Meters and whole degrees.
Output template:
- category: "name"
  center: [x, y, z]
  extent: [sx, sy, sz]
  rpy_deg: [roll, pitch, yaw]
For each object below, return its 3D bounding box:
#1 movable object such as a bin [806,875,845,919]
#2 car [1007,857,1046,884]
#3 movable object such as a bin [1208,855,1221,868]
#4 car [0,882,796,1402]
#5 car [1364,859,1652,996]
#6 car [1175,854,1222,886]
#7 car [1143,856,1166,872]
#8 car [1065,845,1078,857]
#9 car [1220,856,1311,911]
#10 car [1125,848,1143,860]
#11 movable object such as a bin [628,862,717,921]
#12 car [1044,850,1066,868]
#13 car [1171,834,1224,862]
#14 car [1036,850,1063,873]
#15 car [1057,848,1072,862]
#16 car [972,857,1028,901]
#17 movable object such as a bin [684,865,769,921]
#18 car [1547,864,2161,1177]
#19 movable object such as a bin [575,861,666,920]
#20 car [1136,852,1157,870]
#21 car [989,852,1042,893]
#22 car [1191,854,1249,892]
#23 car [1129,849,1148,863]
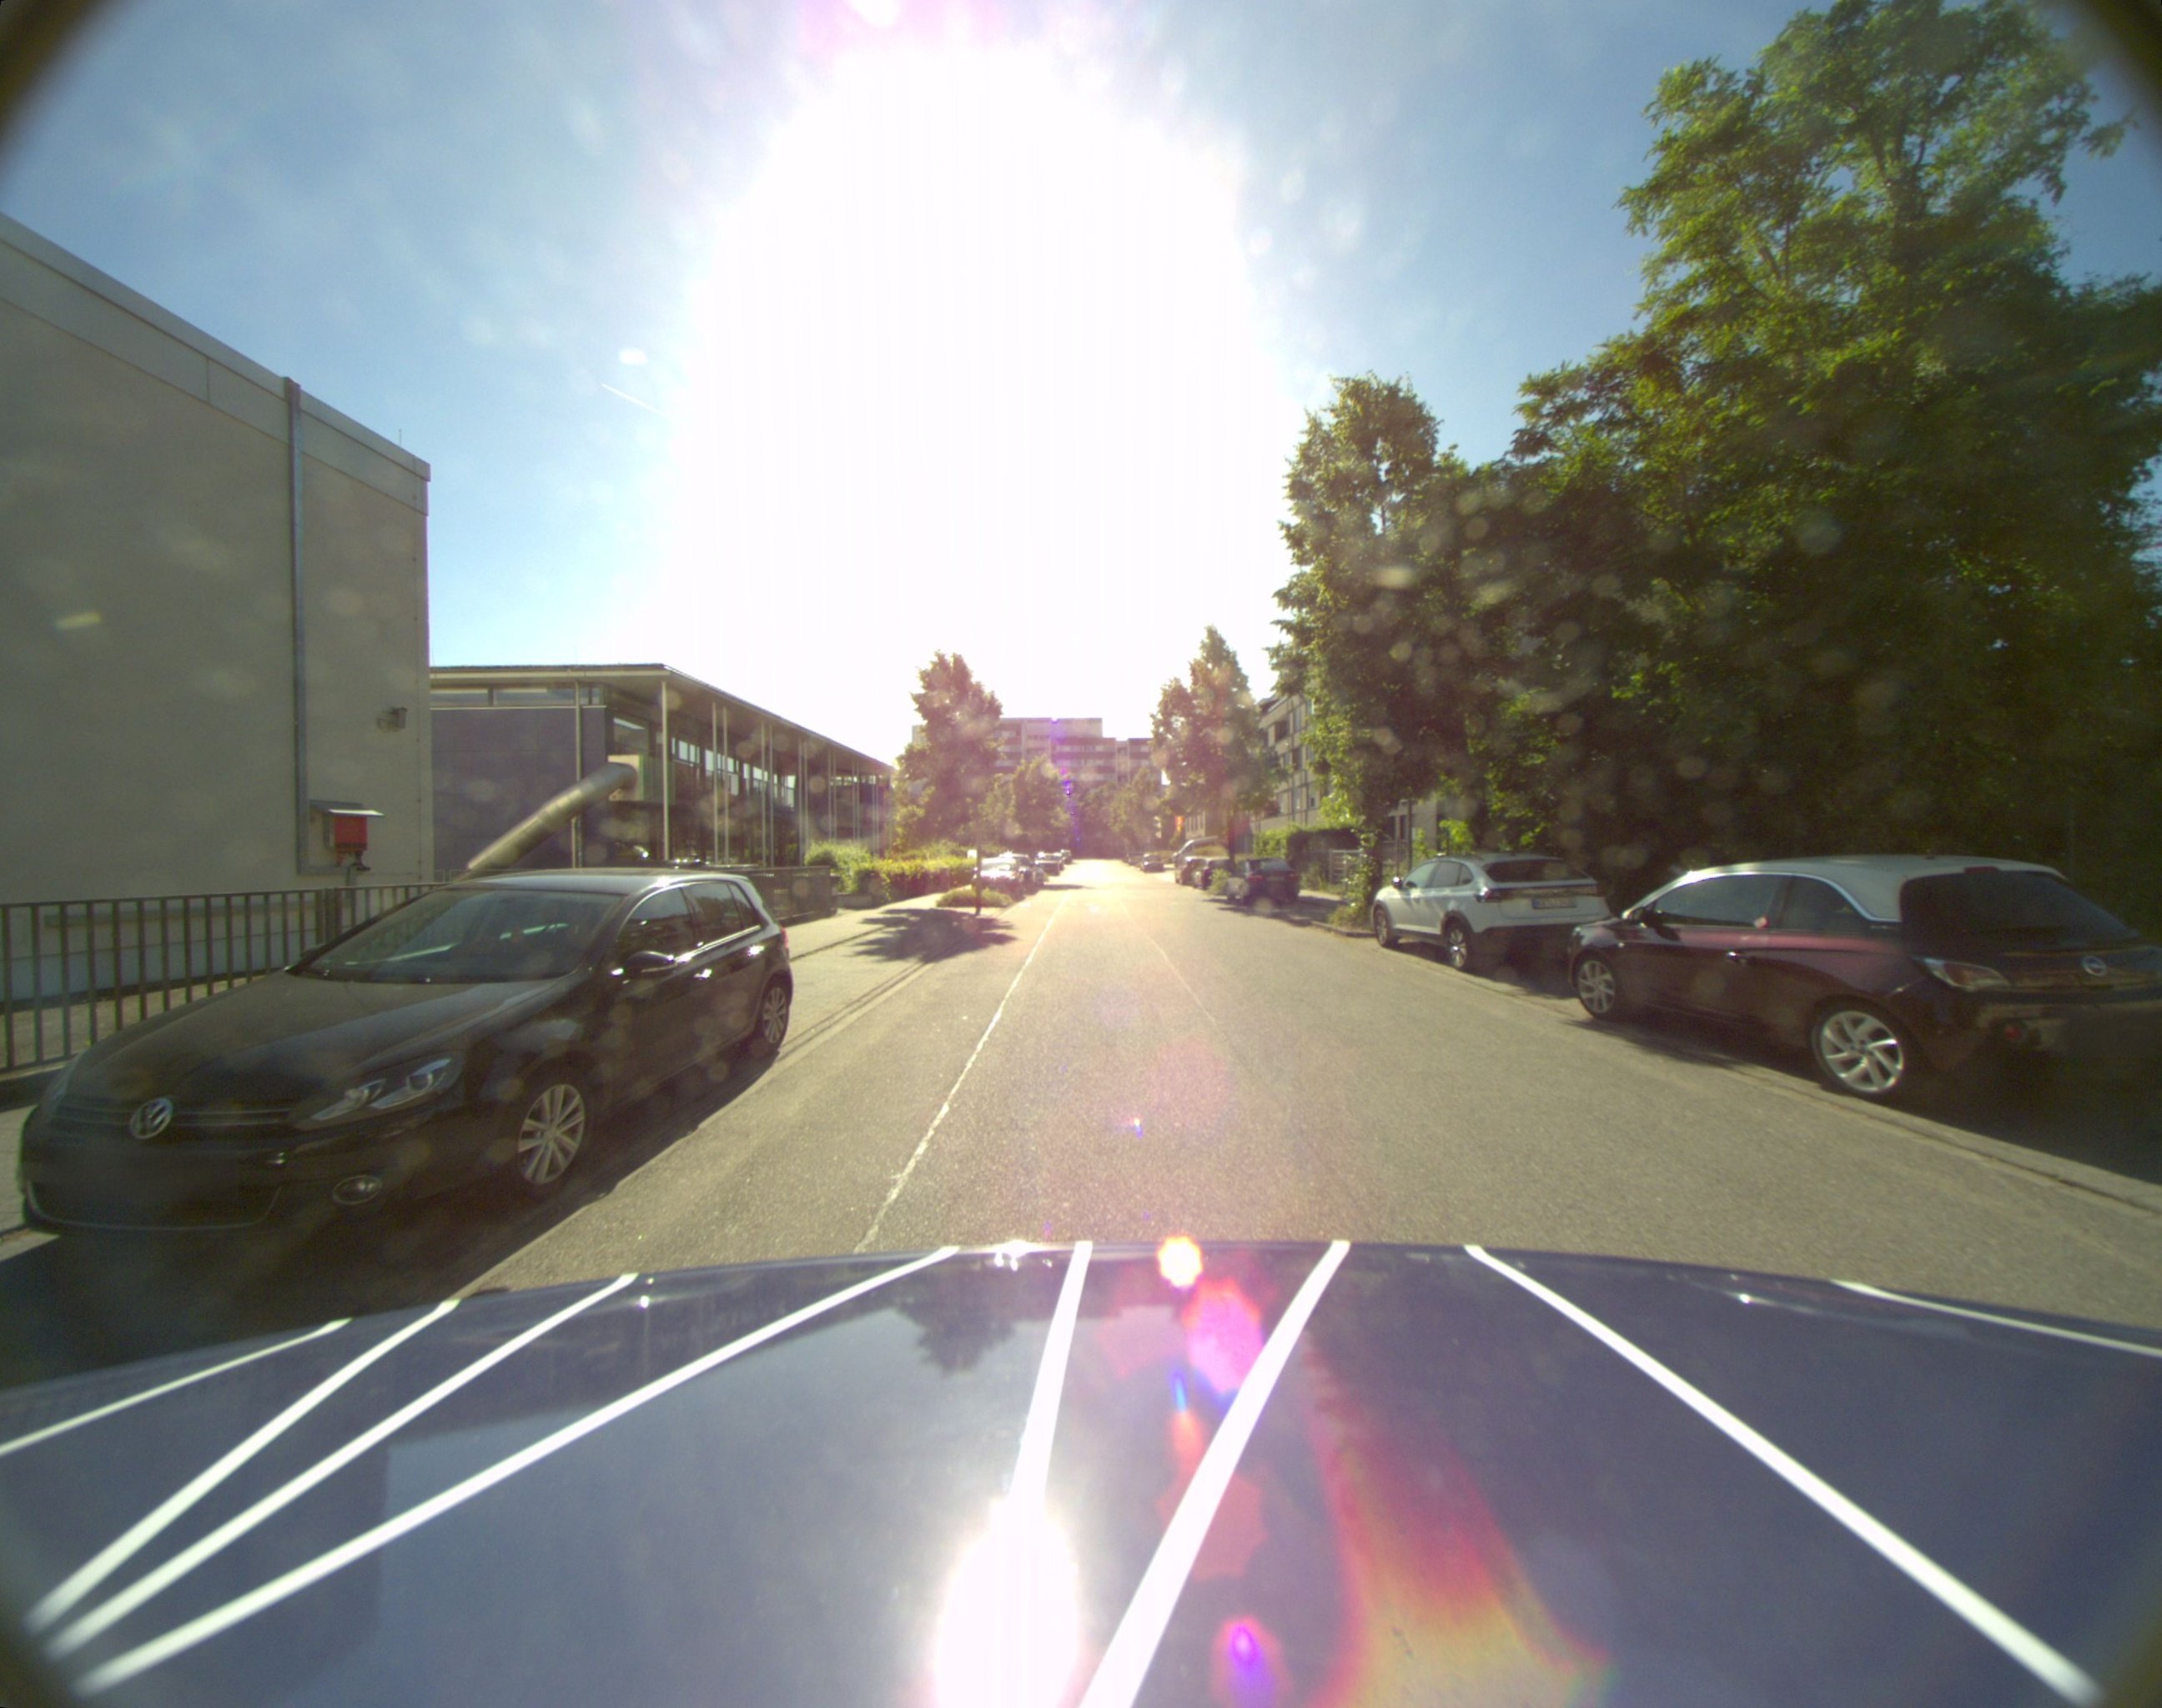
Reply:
- category: "movable object such as a bin"
  center: [-6.559, 1.093, 19.554]
  extent: [0.633, 1.064, 0.979]
  rpy_deg: [-1, 1, 0]
- category: "car"
  center: [-2.876, 0.847, 41.119]
  extent: [1.968, 1.312, 4.774]
  rpy_deg: [2, 0, -3]
- category: "movable object such as a bin"
  center: [10.751, 0.597, 61.122]
  extent: [0.862, 1.032, 0.677]
  rpy_deg: [-4, 1, -2]
- category: "car"
  center: [-3.291, 0.999, 4.425]
  extent: [1.788, 1.507, 3.999]
  rpy_deg: [0, 0, -1]
- category: "car"
  center: [5.727, 0.870, 10.861]
  extent: [1.845, 1.465, 4.002]
  rpy_deg: [-3, 1, 1]
- category: "car"
  center: [6.123, 0.789, 40.036]
  extent: [1.845, 1.465, 4.099]
  rpy_deg: [-3, 1, 1]
- category: "car"
  center: [6.152, 0.821, 63.631]
  extent: [1.631, 1.240, 3.563]
  rpy_deg: [-1, 0, 1]
- category: "car"
  center: [-1.295, -0.374, 104.778]
  extent: [1.644, 1.459, 3.702]
  rpy_deg: [2, 2, 0]
- category: "car"
  center: [5.784, 0.858, 24.356]
  extent: [1.845, 1.465, 4.359]
  rpy_deg: [-3, 1, 1]
- category: "car"
  center: [6.795, -0.032, 97.933]
  extent: [1.795, 1.509, 3.889]
  rpy_deg: [-2, 1, -2]
- category: "movable object such as a bin"
  center: [-10.511, 0.945, 19.642]
  extent: [1.369, 1.440, 1.631]
  rpy_deg: [-1, 0, 2]
- category: "car"
  center: [-2.365, 0.439, 70.726]
  extent: [1.823, 1.459, 3.841]
  rpy_deg: [2, 2, 0]
- category: "car"
  center: [12.244, -0.602, 79.975]
  extent: [5.153, 2.886, 2.013]
  rpy_deg: [-1, 1, -3]
- category: "car"
  center: [-2.459, 0.560, 59.583]
  extent: [1.823, 1.638, 4.488]
  rpy_deg: [2, 1, 0]
- category: "car"
  center: [-2.030, 0.126, 93.442]
  extent: [1.644, 1.459, 3.702]
  rpy_deg: [2, 2, 0]
- category: "car"
  center: [-2.982, 0.891, 28.702]
  extent: [1.679, 1.495, 3.846]
  rpy_deg: [0, 0, 0]
- category: "movable object such as a bin"
  center: [-9.080, 0.977, 19.568]
  extent: [1.369, 1.350, 1.631]
  rpy_deg: [-1, 0, 2]
- category: "car"
  center: [5.497, 0.881, 5.704]
  extent: [1.722, 1.465, 3.545]
  rpy_deg: [-3, 1, -1]
- category: "movable object such as a bin"
  center: [-11.934, 0.929, 19.762]
  extent: [1.333, 1.440, 1.631]
  rpy_deg: [-1, 0, 2]
- category: "car"
  center: [5.972, 0.623, 69.509]
  extent: [1.631, 1.515, 3.562]
  rpy_deg: [0, 0, 0]
- category: "car"
  center: [-2.866, 0.782, 34.219]
  extent: [1.905, 1.673, 4.411]
  rpy_deg: [1, 1, 1]
- category: "car"
  center: [6.104, 0.800, 33.806]
  extent: [1.845, 1.465, 4.027]
  rpy_deg: [-3, 1, 1]
- category: "car"
  center: [6.729, 0.200, 88.964]
  extent: [1.795, 1.590, 3.889]
  rpy_deg: [-2, 1, -2]
